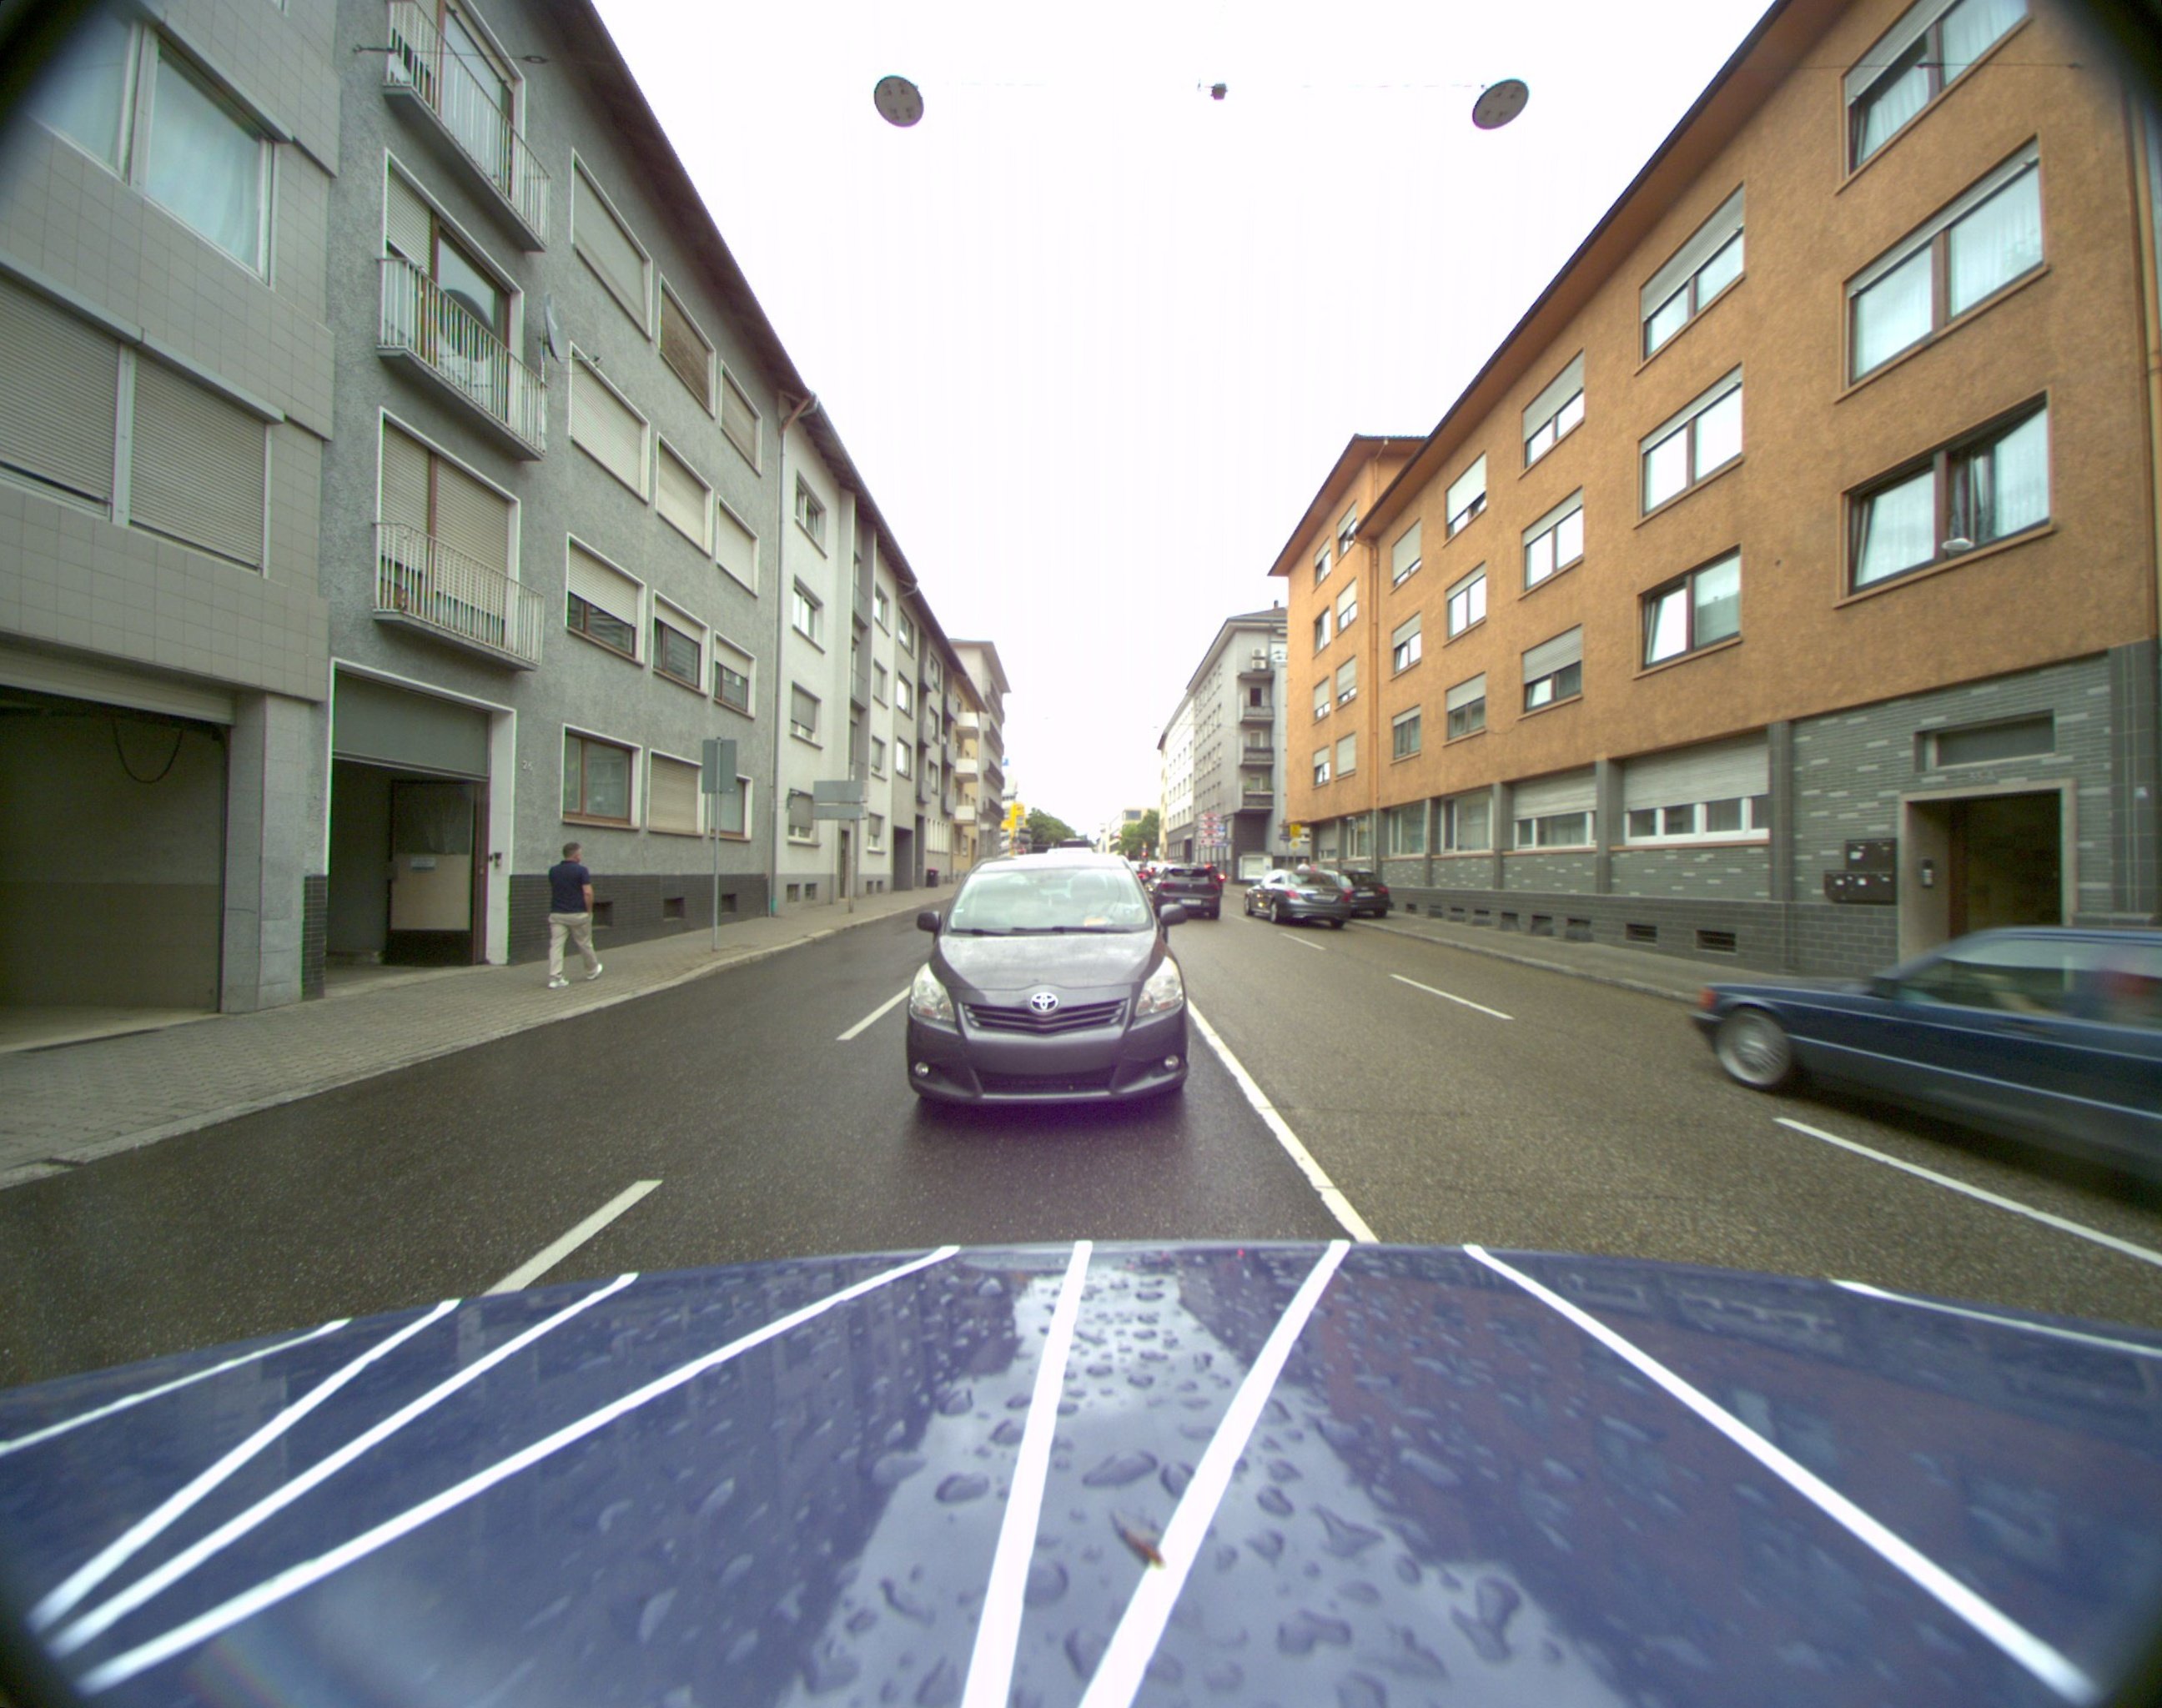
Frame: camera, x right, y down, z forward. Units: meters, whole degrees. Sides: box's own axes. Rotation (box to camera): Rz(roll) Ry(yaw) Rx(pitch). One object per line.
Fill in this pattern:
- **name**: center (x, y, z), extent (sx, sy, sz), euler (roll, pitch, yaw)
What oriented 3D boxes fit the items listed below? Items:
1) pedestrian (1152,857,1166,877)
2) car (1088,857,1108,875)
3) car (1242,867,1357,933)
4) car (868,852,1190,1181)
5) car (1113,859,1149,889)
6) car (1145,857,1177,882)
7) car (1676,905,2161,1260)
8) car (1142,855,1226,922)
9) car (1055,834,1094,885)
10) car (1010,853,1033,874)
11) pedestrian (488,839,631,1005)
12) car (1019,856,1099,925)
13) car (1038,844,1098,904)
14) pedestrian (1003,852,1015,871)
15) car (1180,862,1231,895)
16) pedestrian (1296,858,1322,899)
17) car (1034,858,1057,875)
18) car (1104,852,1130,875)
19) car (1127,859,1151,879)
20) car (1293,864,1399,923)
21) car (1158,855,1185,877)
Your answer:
- **pedestrian**: center (8.190, 1.332, 79.860), extent (1.309, 2.002, 1.258), euler (-2, 1, 1)
- **car**: center (1.565, 1.089, 71.972), extent (1.749, 1.530, 4.052), euler (2, 1, -1)
- **car**: center (5.685, 1.148, 20.363), extent (1.699, 1.362, 4.365), euler (3, 1, -1)
- **car**: center (-0.256, 0.894, 6.273), extent (1.699, 1.712, 4.217), euler (-2, 1, 1)
- **car**: center (2.594, 1.025, 40.202), extent (1.699, 1.362, 4.217), euler (2, 1, 1)
- **car**: center (5.731, 1.065, 55.052), extent (1.699, 1.530, 4.435), euler (4, 1, 0)
- **car**: center (5.566, 1.136, 3.838), extent (1.602, 1.362, 4.361), euler (3, 0, 0)
- **car**: center (2.812, 0.894, 21.576), extent (1.699, 1.571, 4.216), euler (2, 1, 0)
- **car**: center (-0.336, 0.291, 43.666), extent (2.033, 2.731, 4.368), euler (-2, 1, 1)
- **car**: center (-5.136, 0.784, 65.907), extent (1.856, 1.663, 4.215), euler (-2, 1, -4)
- **pedestrian**: center (-6.365, 0.783, 9.343), extent (0.871, 1.855, 1.120), euler (4, 1, 1)
- **car**: center (-0.509, 0.886, 20.117), extent (1.856, 1.524, 3.792), euler (-2, 1, 1)
- **car**: center (-0.400, 0.630, 26.622), extent (1.856, 1.882, 4.217), euler (-2, 1, 1)
- **pedestrian**: center (-6.924, 0.708, 73.503), extent (1.119, 1.741, 0.961), euler (1, 1, -5)
- **car**: center (6.084, 1.165, 37.607), extent (1.727, 1.464, 4.373), euler (2, 0, -1)
- **pedestrian**: center (9.434, 0.986, 31.464), extent (0.768, 1.630, 1.023), euler (-2, 1, 5)
- **car**: center (-3.322, 1.155, 71.561), extent (1.856, 1.369, 4.217), euler (-2, 1, 1)
- **car**: center (2.718, 0.687, 57.622), extent (1.622, 1.530, 4.216), euler (2, 1, -1)
- **car**: center (5.448, 1.364, 71.679), extent (1.856, 1.651, 4.610), euler (-2, 1, 1)
- **car**: center (8.039, 1.142, 23.482), extent (1.799, 1.466, 4.217), euler (-2, 1, 1)
- **car**: center (7.810, 0.991, 65.774), extent (1.856, 1.712, 4.217), euler (-2, 1, 1)
